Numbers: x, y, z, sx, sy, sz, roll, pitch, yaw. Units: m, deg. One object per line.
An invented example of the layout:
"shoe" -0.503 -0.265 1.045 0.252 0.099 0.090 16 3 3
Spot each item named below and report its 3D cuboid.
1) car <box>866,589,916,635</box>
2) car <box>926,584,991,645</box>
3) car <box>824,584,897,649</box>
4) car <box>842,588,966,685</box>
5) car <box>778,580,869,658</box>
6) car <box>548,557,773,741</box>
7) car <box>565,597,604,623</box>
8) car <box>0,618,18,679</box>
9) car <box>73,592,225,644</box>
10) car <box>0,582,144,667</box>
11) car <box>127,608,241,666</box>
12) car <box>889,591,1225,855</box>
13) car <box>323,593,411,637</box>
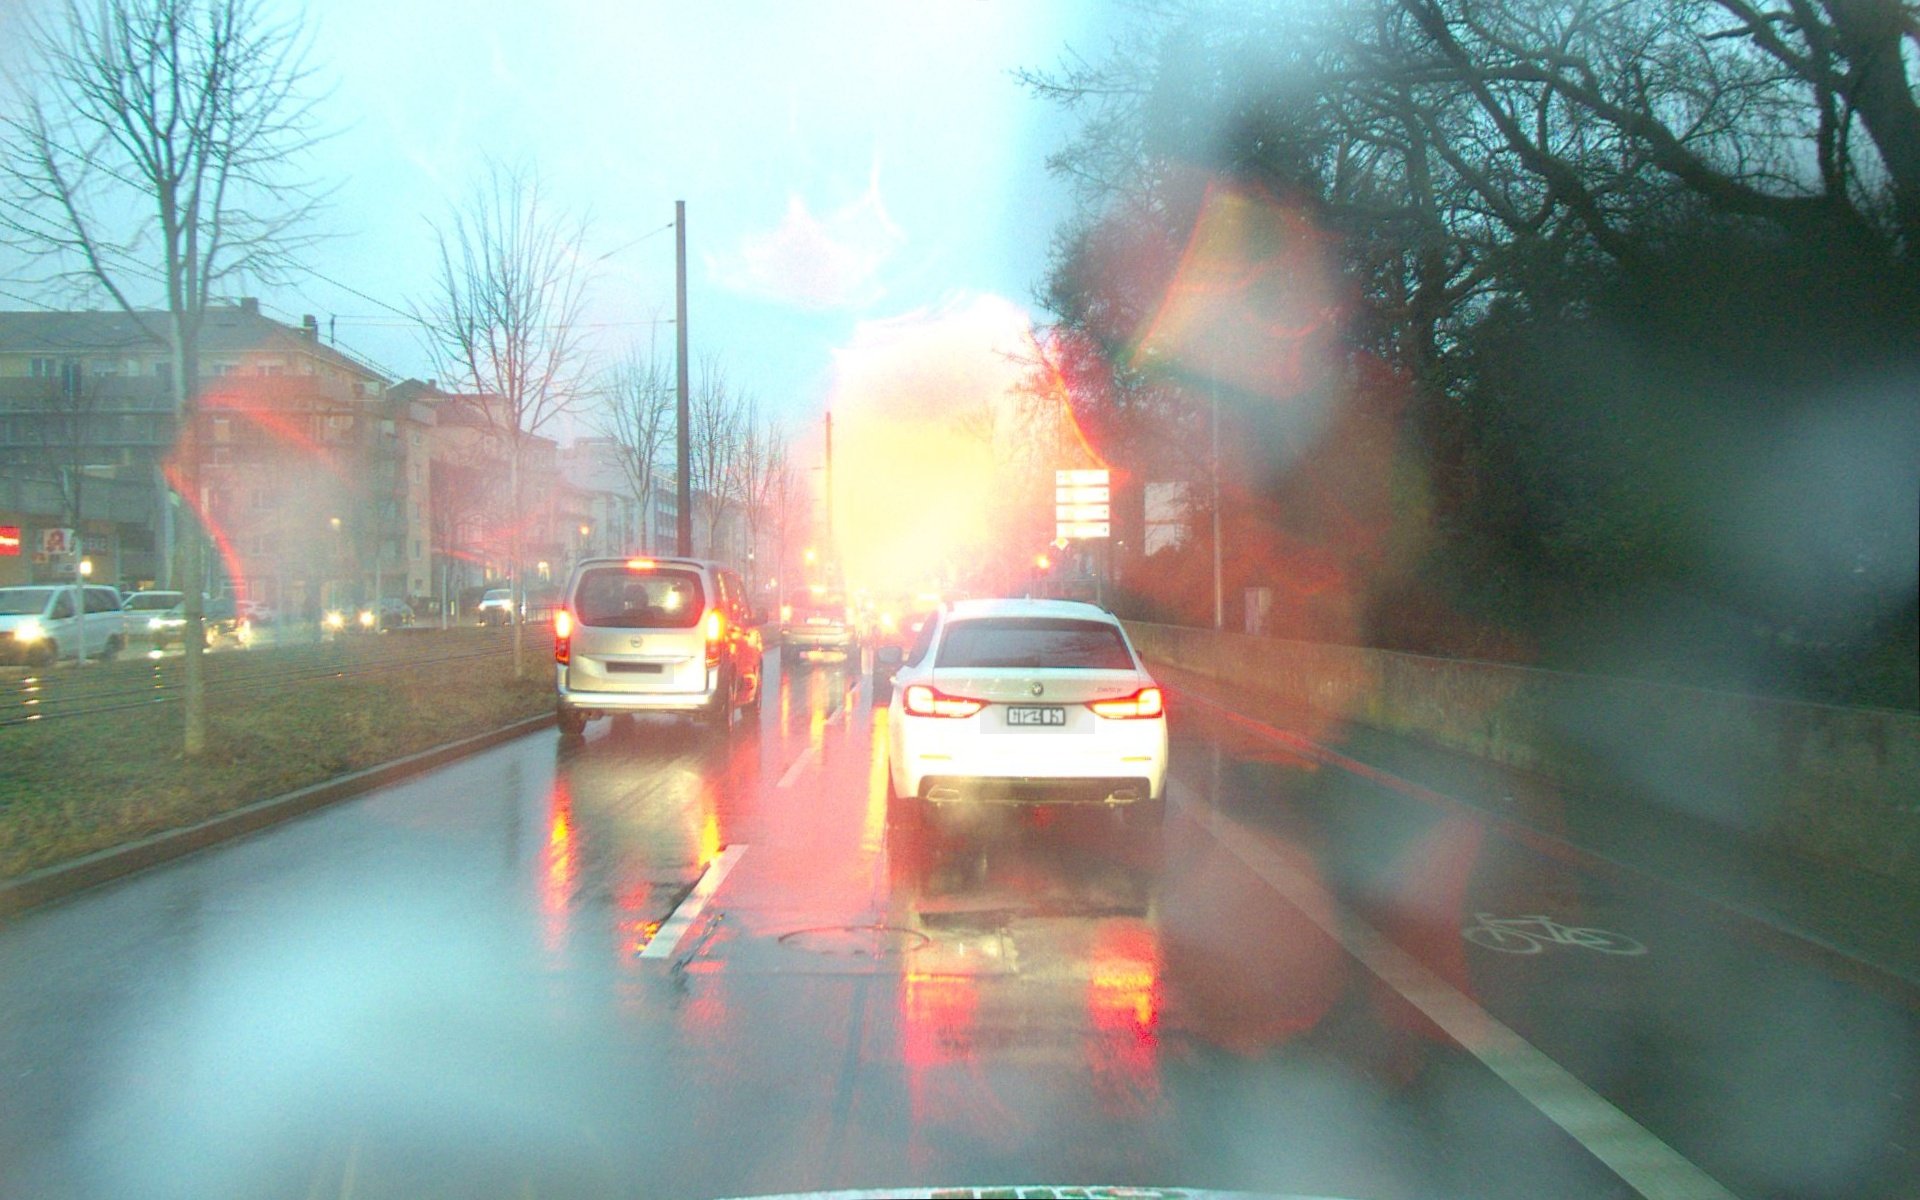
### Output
"car" -2.576 0.445 62.860 1.770 1.674 3.999 1 0 -1
"car" -0.061 0.390 47.847 1.770 1.674 3.999 1 0 -1
"car" -2.862 0.464 48.287 1.953 1.785 3.999 1 0 -2
"car" -0.886 0.544 27.338 1.896 1.483 4.162 0 0 -1
"car" -3.057 0.396 37.652 1.770 1.674 3.999 1 0 -1
"car" -3.159 0.478 18.314 1.757 1.766 4.536 1 0 -2
"car" -25.350 0.665 111.729 1.858 1.662 4.577 -1 0 -4
"car" -25.380 1.251 40.556 1.857 1.542 4.791 -1 0 -1
"car" -32.560 0.680 66.525 1.966 1.945 5.129 -1 0 43
"car" -20.300 0.495 36.745 1.857 1.749 5.117 -1 0 -1
"car" -26.971 1.251 57.655 1.857 1.844 4.529 -1 0 -1
"car" 0.538 0.708 11.731 1.958 1.534 4.162 0 0 -1
"car" -24.314 0.589 68.041 1.857 1.749 4.916 0 0 0
